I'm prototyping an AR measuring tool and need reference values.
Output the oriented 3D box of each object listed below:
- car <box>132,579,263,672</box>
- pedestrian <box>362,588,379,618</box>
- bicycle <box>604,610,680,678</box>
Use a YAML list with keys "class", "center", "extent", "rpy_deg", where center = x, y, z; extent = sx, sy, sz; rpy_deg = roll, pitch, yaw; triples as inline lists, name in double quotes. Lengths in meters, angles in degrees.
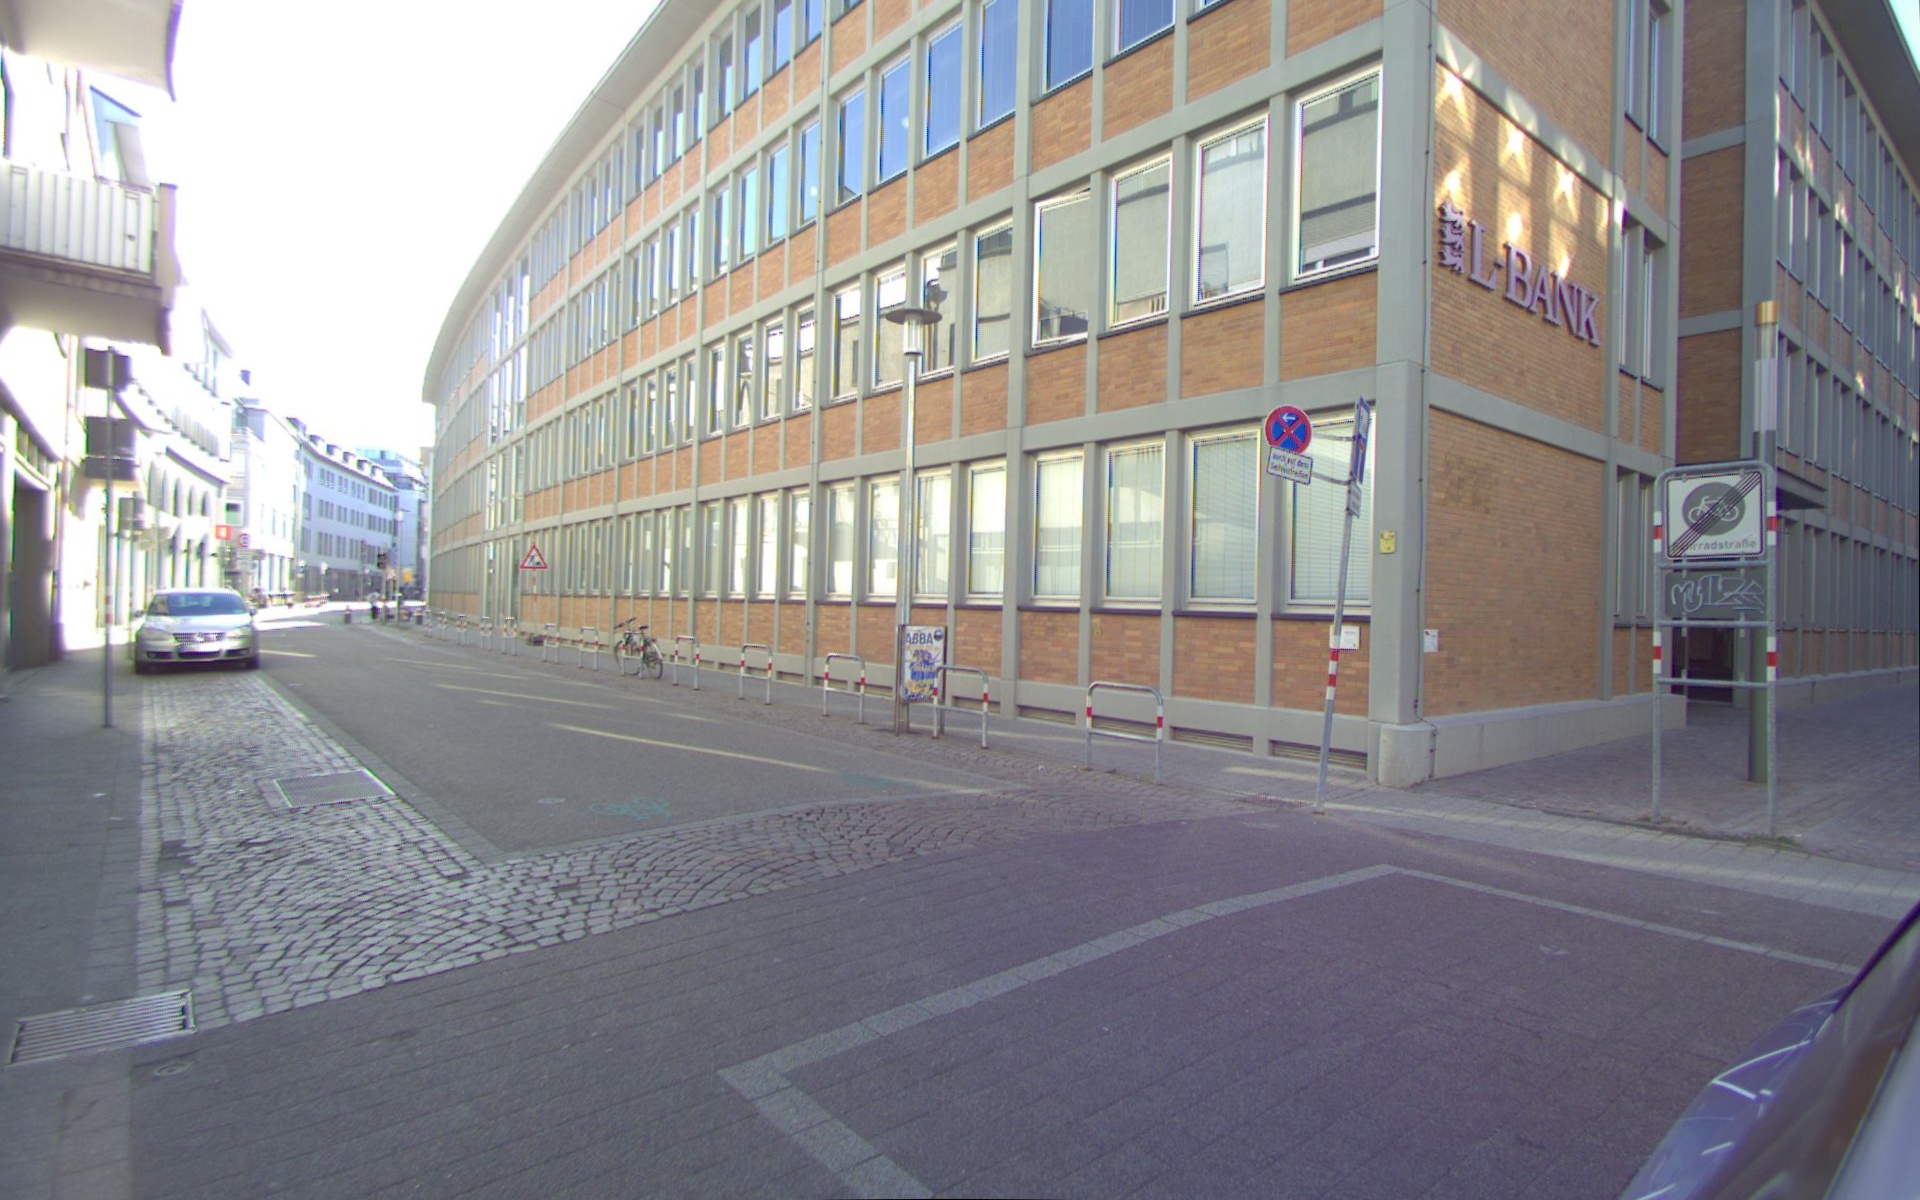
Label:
- class: "car"
  center: [-13.869, 0.376, 18.389]
  extent: [1.739, 1.488, 3.810]
  rpy_deg: [-1, 2, -38]
- class: "pedestrian"
  center: [-28.598, 0.158, 49.103]
  extent: [0.647, 1.459, 0.595]
  rpy_deg: [1, 0, -37]
- class: "bicycle"
  center: [-5.817, 0.776, 18.457]
  extent: [0.627, 1.130, 1.928]
  rpy_deg: [1, 0, -40]
